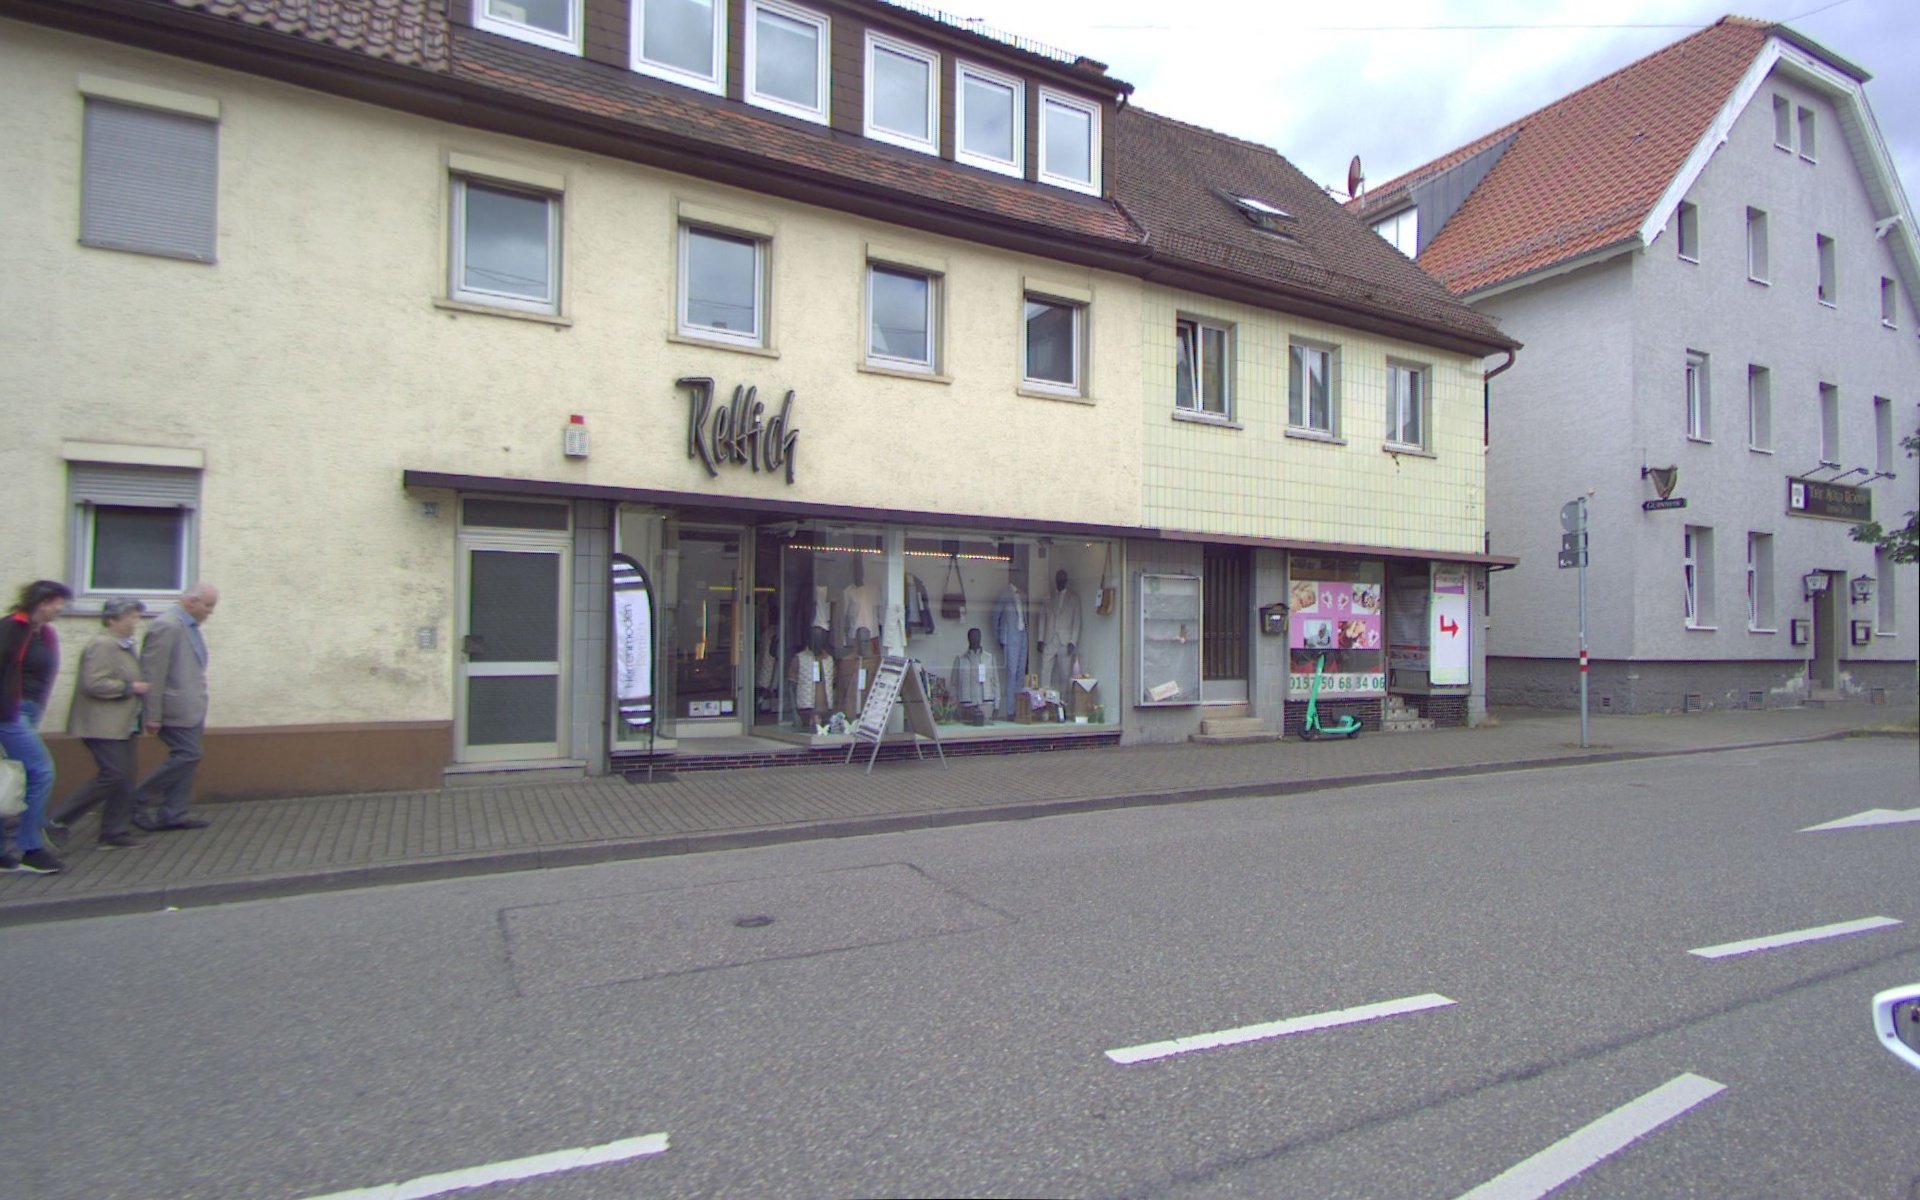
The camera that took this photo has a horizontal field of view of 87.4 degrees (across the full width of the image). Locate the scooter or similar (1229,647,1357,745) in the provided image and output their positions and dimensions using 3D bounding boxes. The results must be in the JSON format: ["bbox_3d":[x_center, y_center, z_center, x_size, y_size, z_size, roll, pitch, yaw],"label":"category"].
[{"bbox_3d":[4.304,1.209,12.945,1.700,1.185,0.526,1,-1,-28],"label":"scooter or similar"}]

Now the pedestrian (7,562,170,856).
[{"bbox_3d":[-5.514,0.661,6.392,0.640,1.760,0.494,1,-2,-27],"label":"pedestrian"}]

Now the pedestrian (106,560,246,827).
[{"bbox_3d":[-5.460,0.629,7.035,0.640,1.760,0.551,1,-2,-27],"label":"pedestrian"}]

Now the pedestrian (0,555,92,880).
[{"bbox_3d":[-5.508,0.642,5.690,0.708,1.760,0.675,1,-2,-27],"label":"pedestrian"}]
